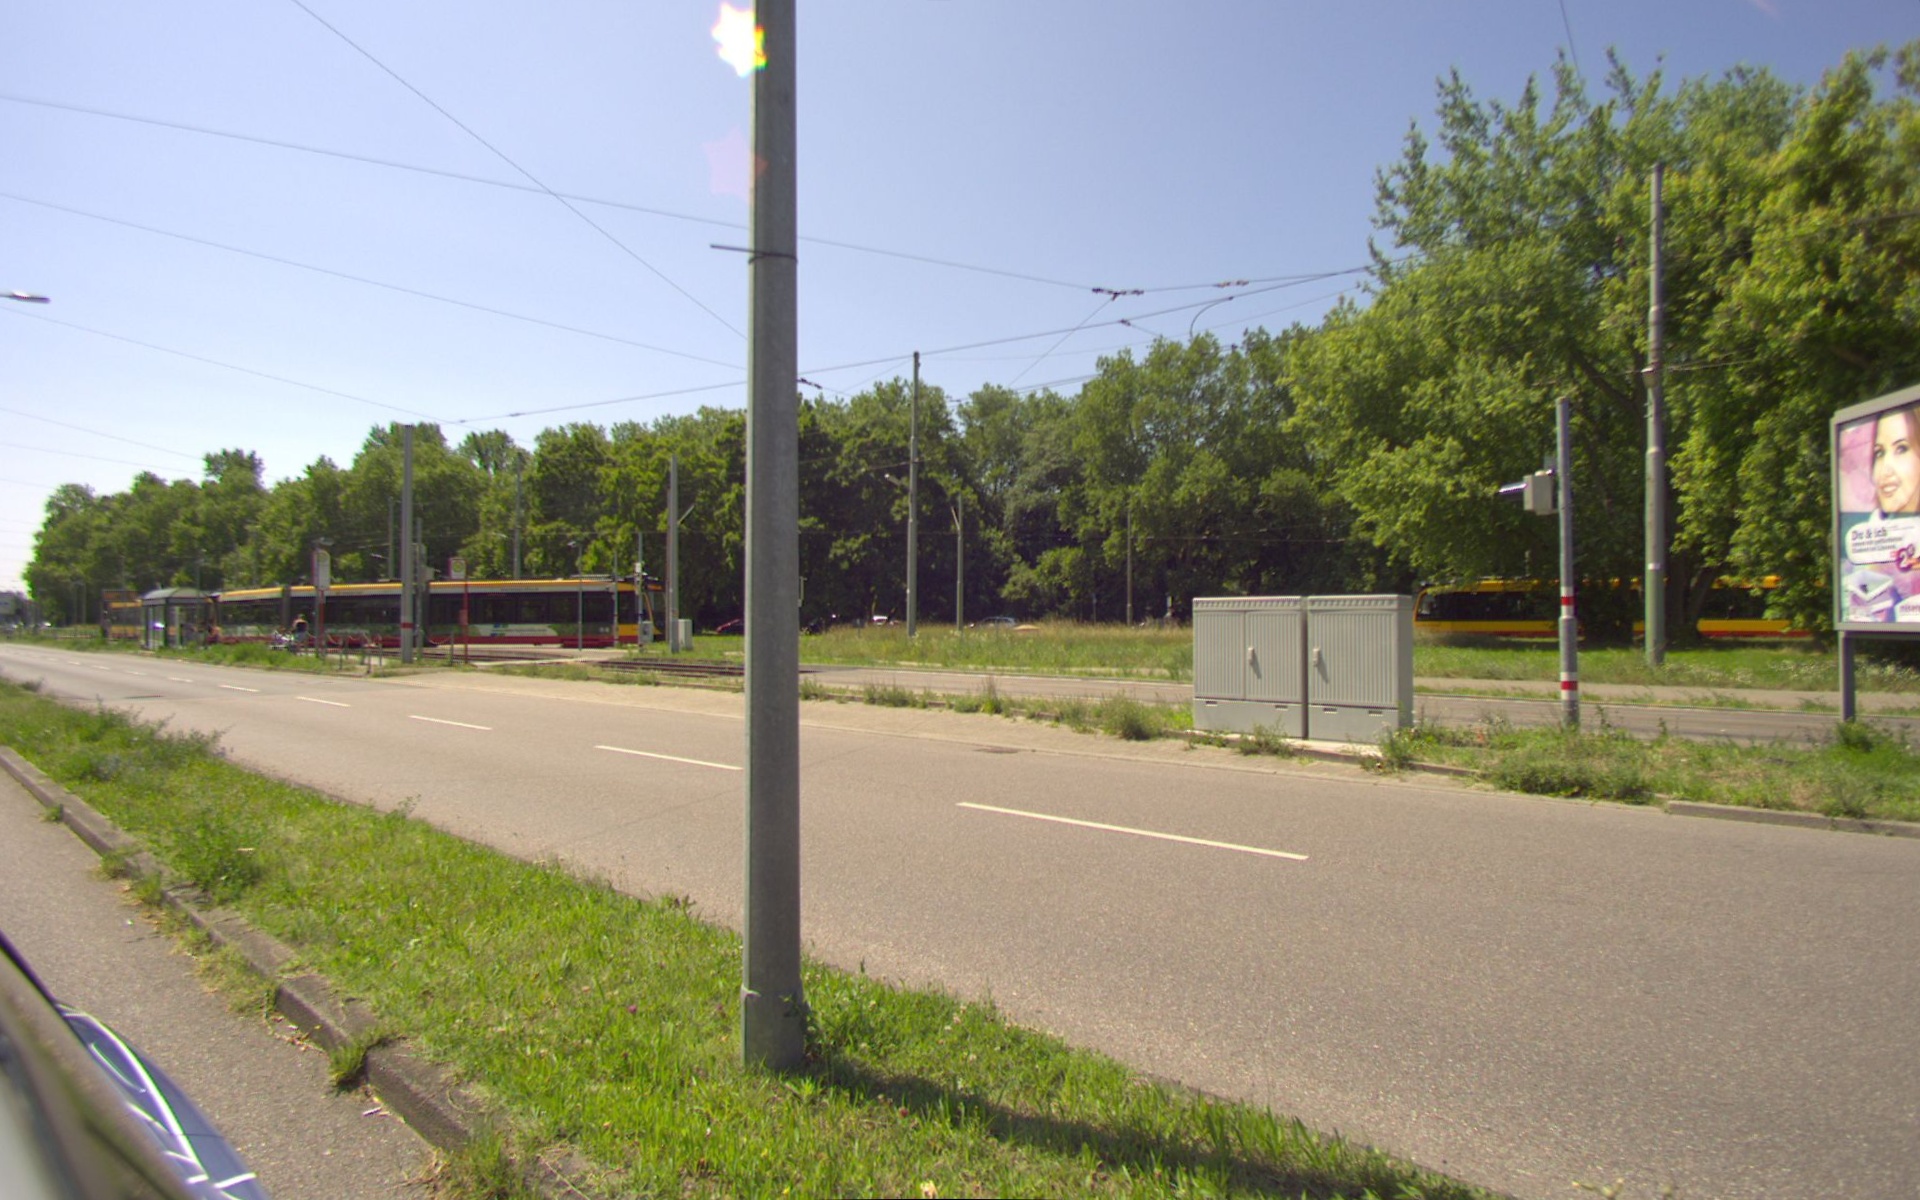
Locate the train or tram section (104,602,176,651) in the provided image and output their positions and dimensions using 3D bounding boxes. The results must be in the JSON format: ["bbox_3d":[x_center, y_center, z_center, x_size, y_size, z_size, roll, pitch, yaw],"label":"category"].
[{"bbox_3d":[-69.997,2.294,86.259,11.536,3.884,2.919,-2,0,42],"label":"train or tram section"}]

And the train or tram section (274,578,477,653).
[{"bbox_3d":[-31.264,0.898,53.861,12.386,3.652,3.027,-2,0,27],"label":"train or tram section"}]

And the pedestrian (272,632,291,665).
[{"bbox_3d":[-25.664,1.830,38.270,0.400,1.198,0.489,-2,0,42],"label":"pedestrian"}]

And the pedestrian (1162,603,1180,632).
[{"bbox_3d":[11.848,0.997,56.902,0.779,1.586,0.692,-2,0,-5],"label":"pedestrian"}]

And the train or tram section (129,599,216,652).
[{"bbox_3d":[-61.109,2.012,78.350,12.590,3.769,3.012,-2,0,42],"label":"train or tram section"}]

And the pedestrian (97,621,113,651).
[{"bbox_3d":[-54.044,2.271,63.934,0.776,1.804,0.625,-2,0,40],"label":"pedestrian"}]

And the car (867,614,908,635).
[{"bbox_3d":[-5.873,1.958,82.010,3.058,1.608,1.375,-2,0,29],"label":"car"}]

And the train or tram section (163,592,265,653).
[{"bbox_3d":[-51.510,1.574,69.666,13.258,3.795,3.011,-2,0,42],"label":"train or tram section"}]

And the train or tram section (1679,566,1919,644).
[{"bbox_3d":[40.914,0.281,48.560,10.215,3.492,3.006,-2,0,40],"label":"train or tram section"}]

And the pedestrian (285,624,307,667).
[{"bbox_3d":[-24.877,1.689,37.897,0.582,1.577,0.529,-2,0,40],"label":"pedestrian"}]

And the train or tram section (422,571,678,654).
[{"bbox_3d":[-20.239,0.666,49.935,12.332,3.652,3.040,-2,0,14],"label":"train or tram section"}]

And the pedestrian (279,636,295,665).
[{"bbox_3d":[-25.341,1.893,38.105,0.377,1.066,0.379,-2,0,40],"label":"pedestrian"}]

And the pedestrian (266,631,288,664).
[{"bbox_3d":[-26.041,1.808,38.583,0.536,1.198,0.575,-2,0,39],"label":"pedestrian"}]

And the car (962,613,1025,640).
[{"bbox_3d":[2.375,1.838,71.138,3.974,1.741,1.985,-2,0,23],"label":"car"}]

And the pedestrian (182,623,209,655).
[{"bbox_3d":[-36.633,1.857,48.466,0.878,1.519,0.826,-2,0,40],"label":"pedestrian"}]

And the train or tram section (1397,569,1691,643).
[{"bbox_3d":[30.656,0.393,54.101,13.176,3.492,3.024,-2,0,23],"label":"train or tram section"}]

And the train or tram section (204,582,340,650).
[{"bbox_3d":[-41.448,1.004,60.629,13.885,3.652,3.013,-2,0,40],"label":"train or tram section"}]

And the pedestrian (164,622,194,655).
[{"bbox_3d":[-37.627,1.844,48.758,0.984,1.558,0.921,-2,0,39],"label":"pedestrian"}]

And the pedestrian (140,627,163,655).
[{"bbox_3d":[-39.732,2.013,49.715,0.839,1.293,0.694,-2,0,39],"label":"pedestrian"}]

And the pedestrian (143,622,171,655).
[{"bbox_3d":[-38.846,1.859,48.955,1.025,1.558,0.865,-2,0,39],"label":"pedestrian"}]
